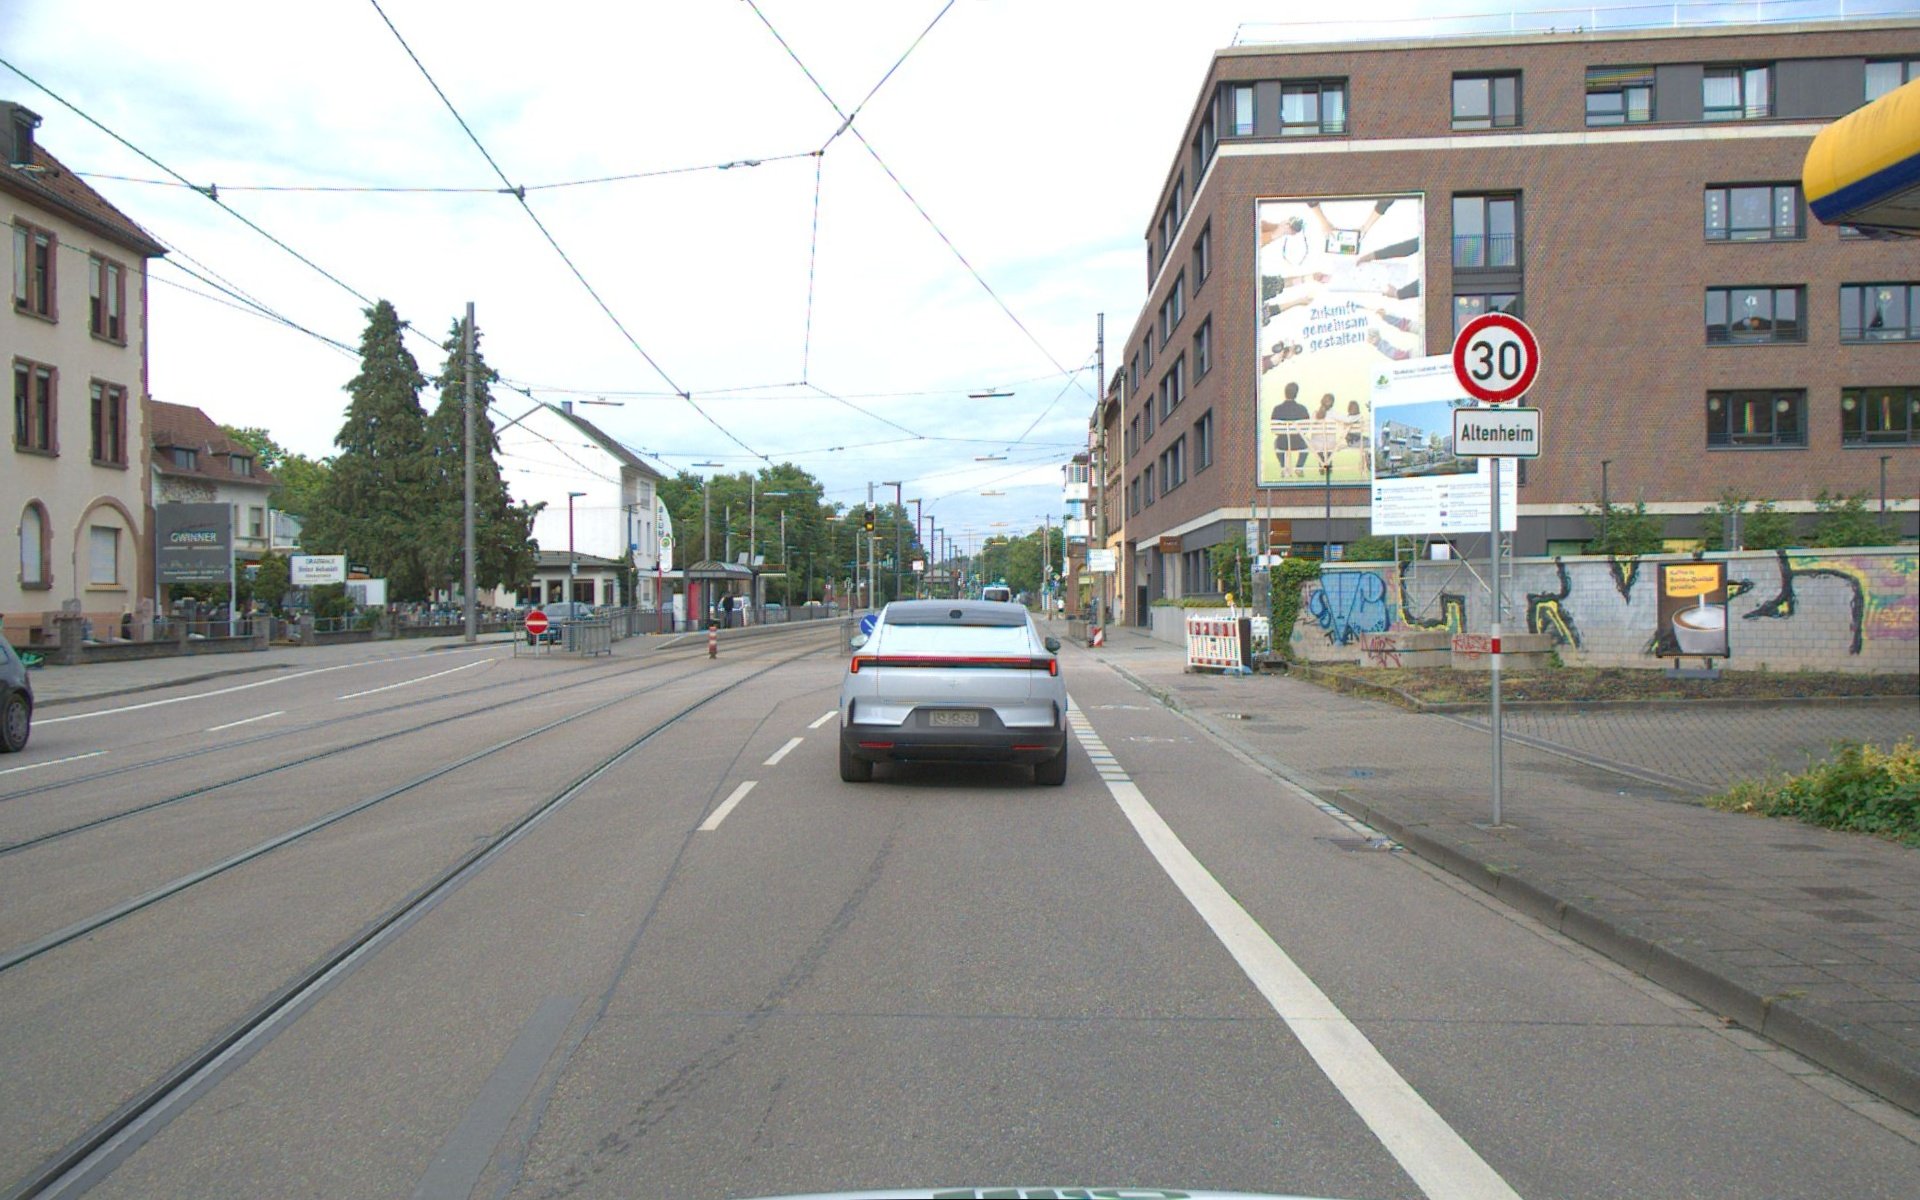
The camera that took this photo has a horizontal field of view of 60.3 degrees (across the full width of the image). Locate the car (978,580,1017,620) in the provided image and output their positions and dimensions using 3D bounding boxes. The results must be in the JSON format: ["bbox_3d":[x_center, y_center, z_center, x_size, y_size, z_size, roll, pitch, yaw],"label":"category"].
[{"bbox_3d":[2.341,0.023,104.398,2.181,2.444,5.121,0,0,-2],"label":"car"}]

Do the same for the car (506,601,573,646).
[{"bbox_3d":[-14.997,0.810,59.232,1.869,1.498,4.809,-2,0,-9],"label":"car"}]

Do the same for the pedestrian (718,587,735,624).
[{"bbox_3d":[-10.724,0.252,76.024,0.602,1.694,0.698,0,-1,5],"label":"pedestrian"}]

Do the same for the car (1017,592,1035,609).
[{"bbox_3d":[10.284,0.127,258.639,2.749,2.549,5.723,0,0,2],"label":"car"}]

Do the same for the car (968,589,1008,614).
[{"bbox_3d":[2.326,0.129,137.465,1.965,2.049,3.974,1,0,-21],"label":"car"}]

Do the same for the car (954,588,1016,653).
[{"bbox_3d":[0.721,0.560,45.561,1.646,1.717,3.824,0,0,2],"label":"car"}]

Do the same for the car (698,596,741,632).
[{"bbox_3d":[-14.043,0.800,96.793,1.846,2.023,4.525,-1,0,0],"label":"car"}]

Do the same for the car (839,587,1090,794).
[{"bbox_3d":[-0.057,0.733,14.967,1.959,1.608,3.997,0,-1,-3],"label":"car"}]

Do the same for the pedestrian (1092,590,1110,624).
[{"bbox_3d":[8.063,0.370,94.610,0.940,1.882,0.976,-3,0,7],"label":"pedestrian"}]

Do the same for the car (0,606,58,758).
[{"bbox_3d":[-10.668,0.873,16.147,1.756,1.556,4.135,-2,0,-6],"label":"car"}]

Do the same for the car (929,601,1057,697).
[{"bbox_3d":[0.524,0.760,27.589,1.953,1.444,4.000,-1,0,0],"label":"car"}]
